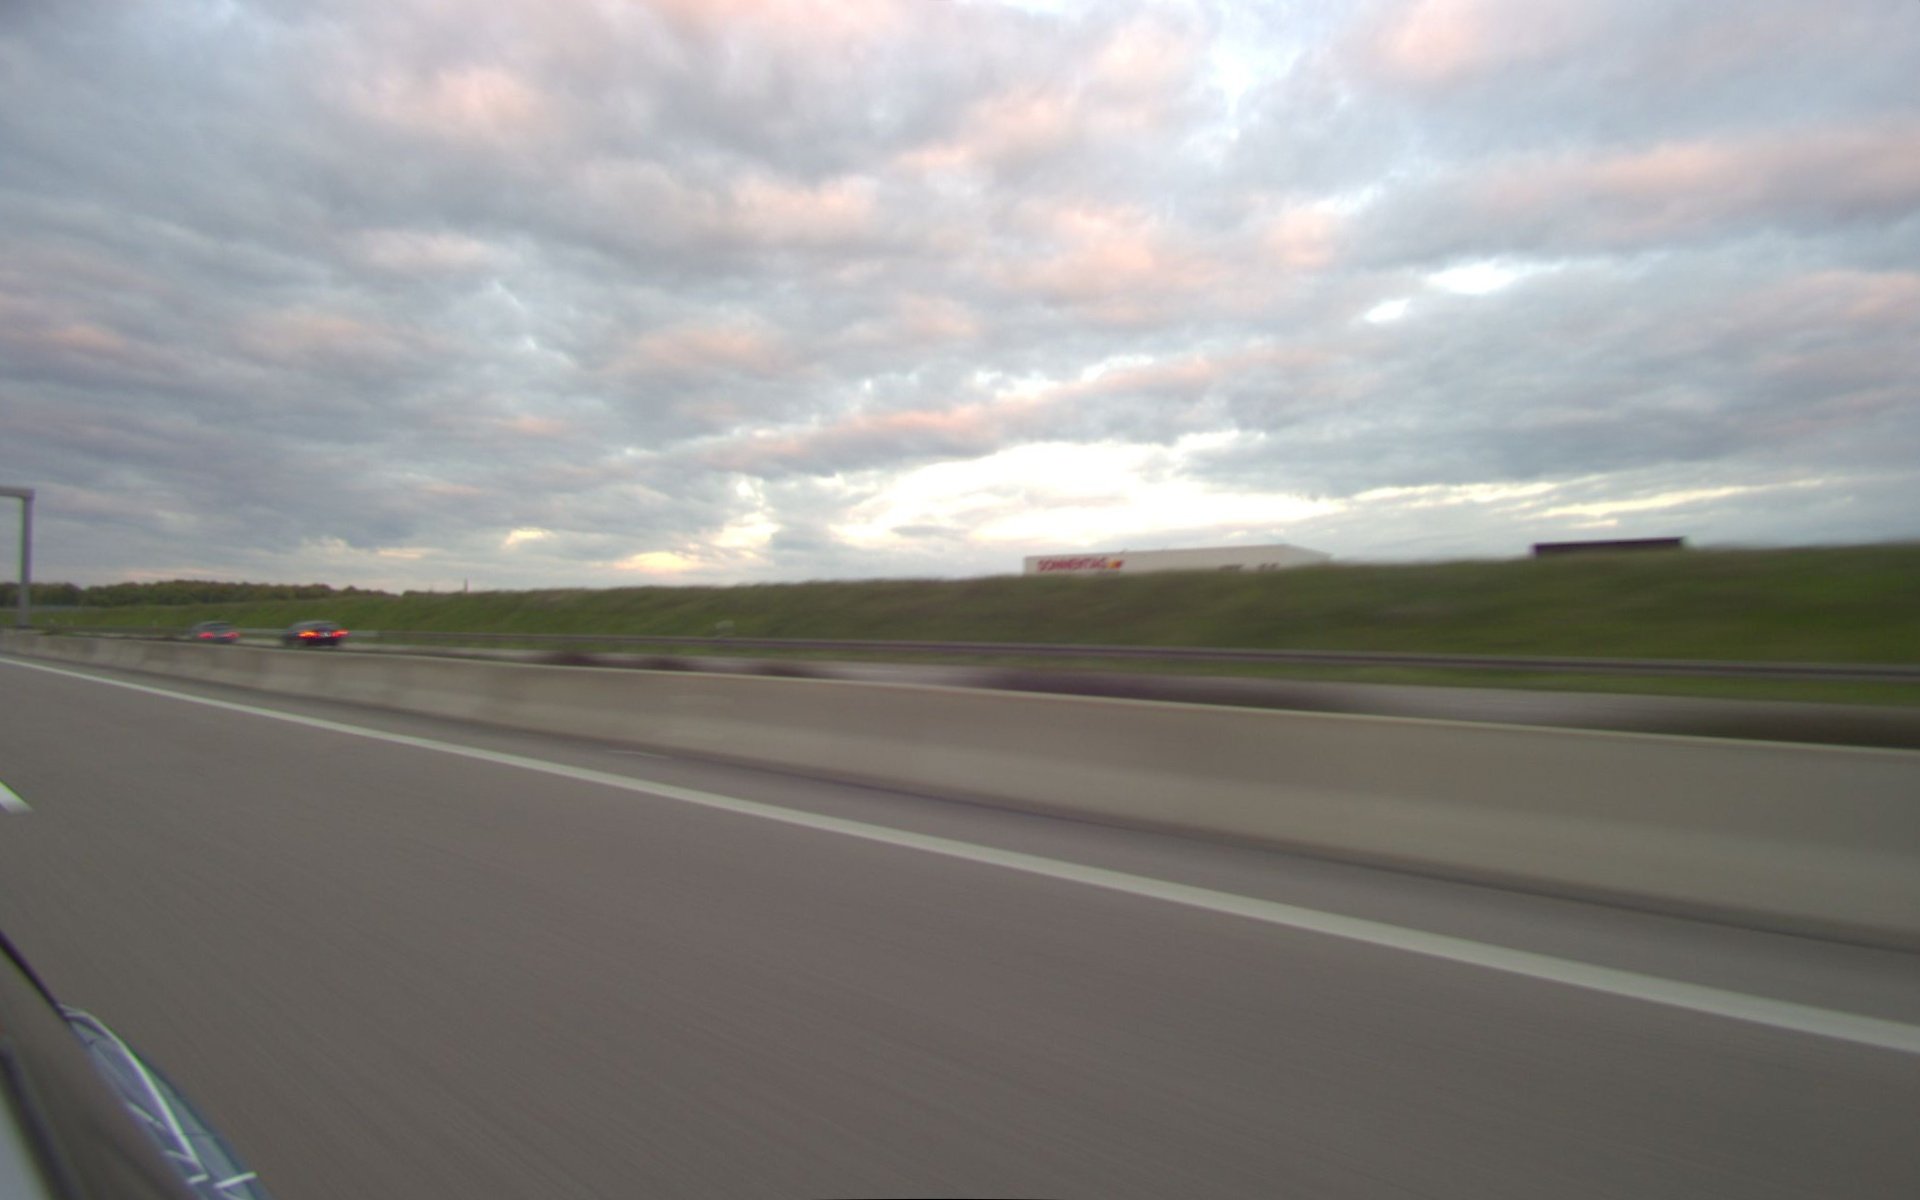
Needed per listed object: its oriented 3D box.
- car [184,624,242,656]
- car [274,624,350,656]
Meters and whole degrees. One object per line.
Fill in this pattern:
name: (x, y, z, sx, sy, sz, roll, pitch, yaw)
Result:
car: (-40.344, 2.136, 54.639, 4.000, 1.641, 1.799, -1, -2, 43)
car: (-34.665, 2.085, 54.115, 5.195, 1.614, 1.973, -1, -1, 40)
